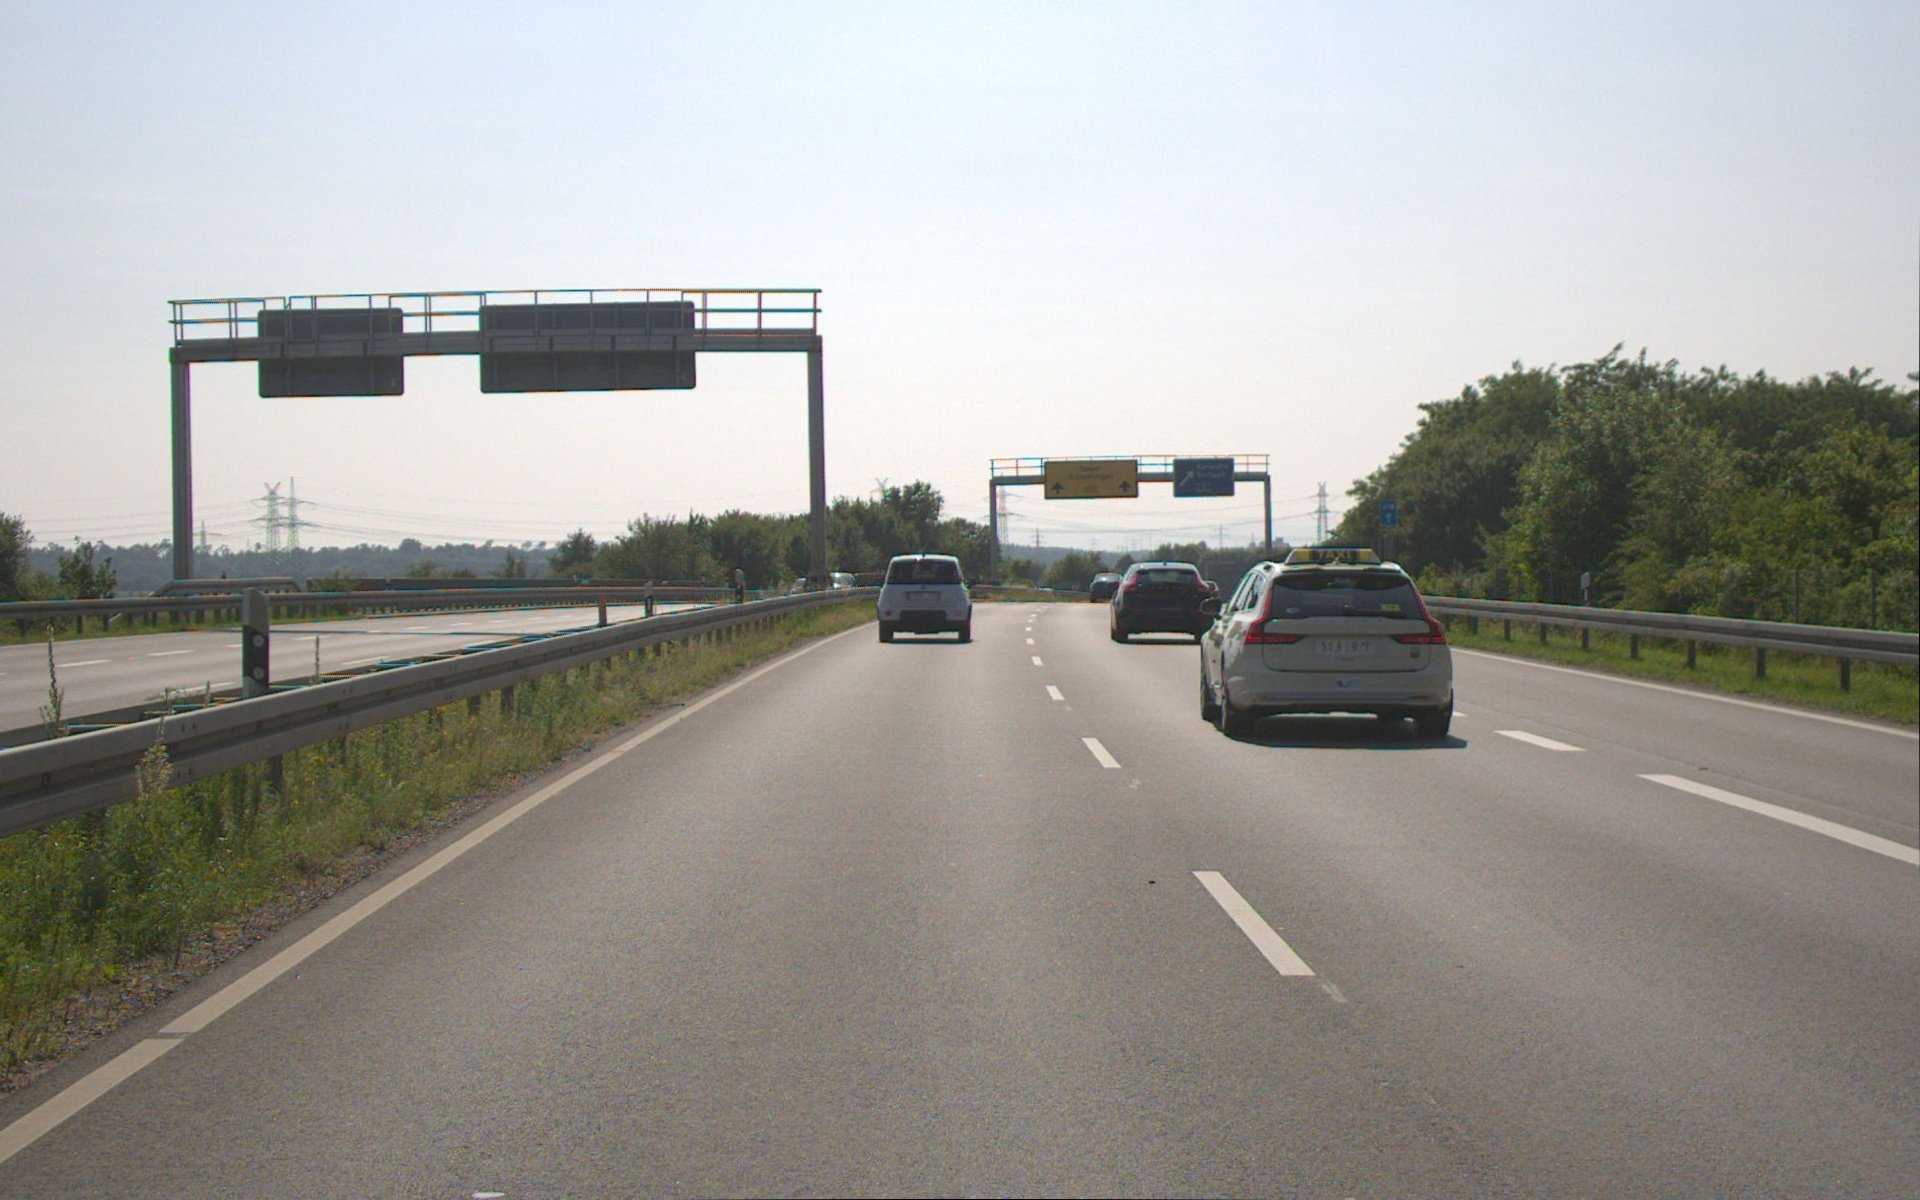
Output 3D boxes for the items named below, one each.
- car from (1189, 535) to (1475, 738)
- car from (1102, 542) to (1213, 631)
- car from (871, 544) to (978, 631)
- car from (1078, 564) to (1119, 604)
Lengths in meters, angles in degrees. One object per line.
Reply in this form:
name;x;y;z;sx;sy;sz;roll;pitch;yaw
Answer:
car;3.111;0.265;29.548;1.958;1.596;4.107;1;1;0
car;3.529;-0.225;62.008;1.793;1.538;3.671;1;0;0
car;-0.603;-0.211;61.962;1.793;1.498;4.043;-1;0;1
car;7.155;-0.860;177.495;1.993;2.007;4.000;1;1;1
